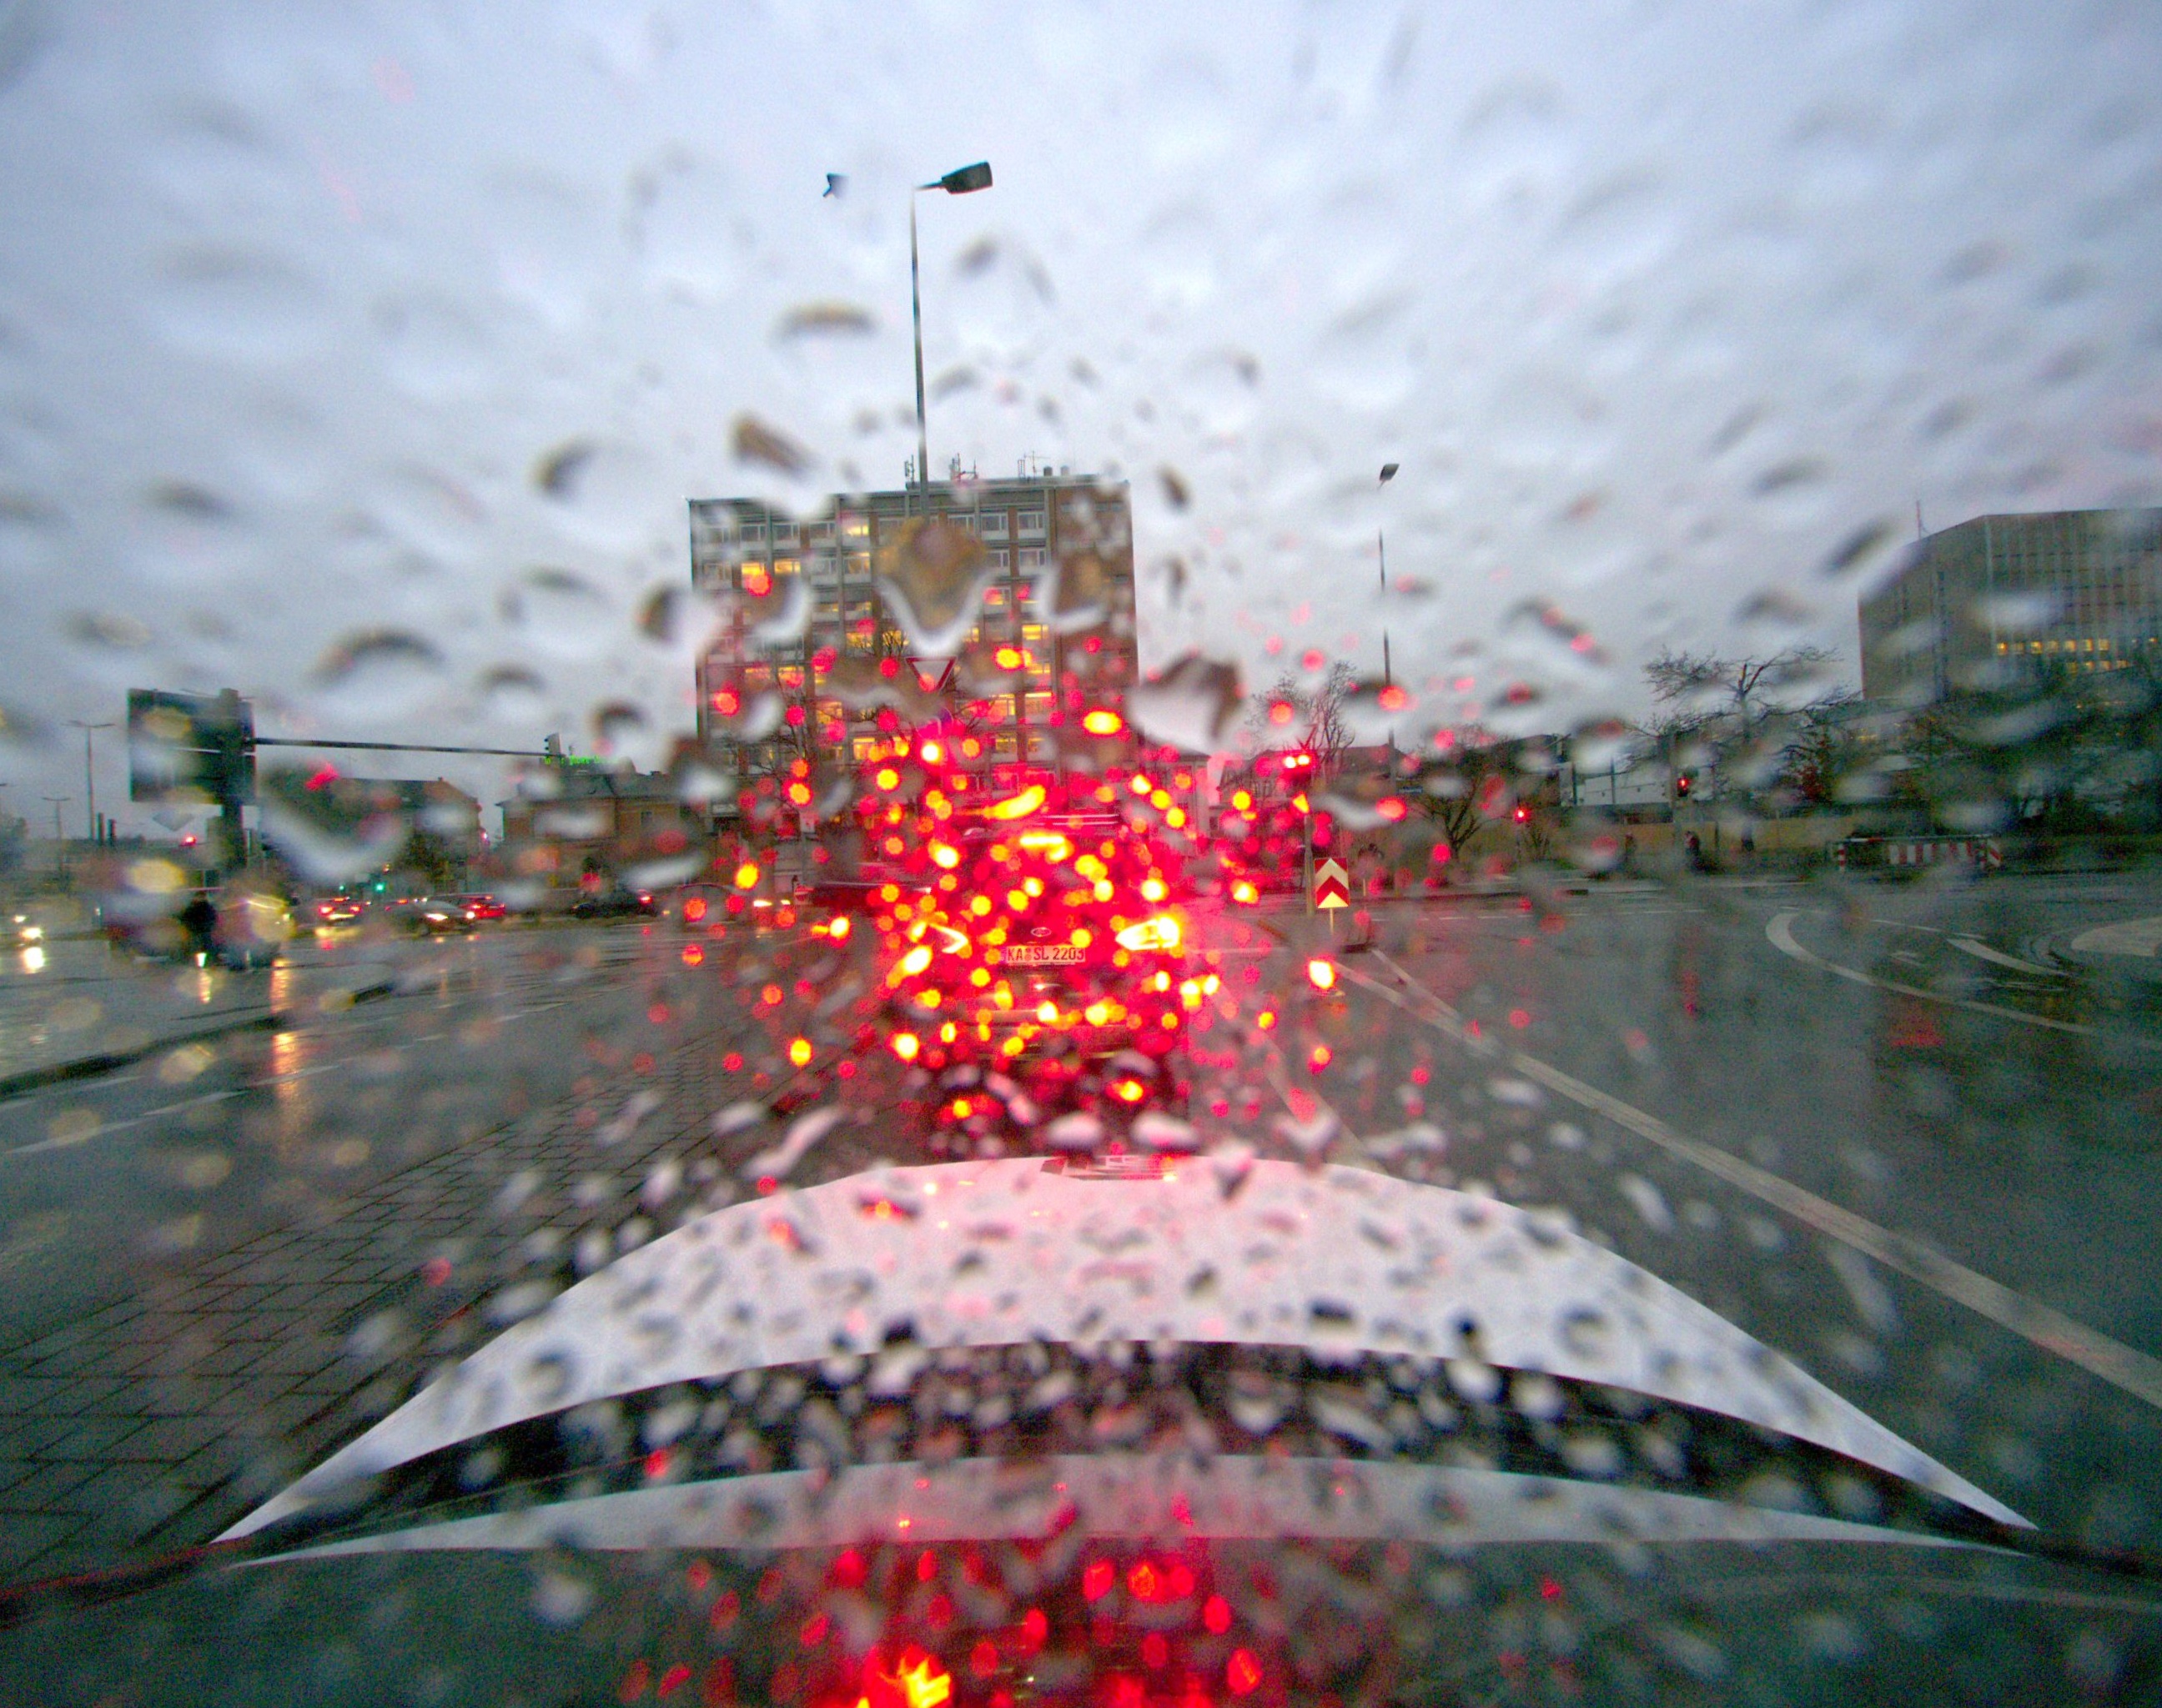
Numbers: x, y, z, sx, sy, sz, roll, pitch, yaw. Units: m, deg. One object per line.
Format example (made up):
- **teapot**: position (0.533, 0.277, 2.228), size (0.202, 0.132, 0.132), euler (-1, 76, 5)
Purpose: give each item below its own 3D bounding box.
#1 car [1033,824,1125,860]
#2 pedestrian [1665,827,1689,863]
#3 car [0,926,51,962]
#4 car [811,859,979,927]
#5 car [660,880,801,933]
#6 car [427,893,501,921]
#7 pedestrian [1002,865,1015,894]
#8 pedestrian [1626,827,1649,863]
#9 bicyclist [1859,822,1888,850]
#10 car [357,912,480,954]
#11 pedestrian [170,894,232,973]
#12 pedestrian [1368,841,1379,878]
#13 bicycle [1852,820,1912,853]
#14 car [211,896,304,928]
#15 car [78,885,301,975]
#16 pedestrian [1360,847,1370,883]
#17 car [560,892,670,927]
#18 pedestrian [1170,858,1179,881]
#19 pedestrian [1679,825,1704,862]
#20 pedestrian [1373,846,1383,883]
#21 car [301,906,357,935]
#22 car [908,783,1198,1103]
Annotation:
- **car**: position (-0.096, -0.726, 51.022), size (5.516, 2.024, 2.004), euler (-1, -2, 7)
- **pedestrian**: position (29.222, -0.443, 39.965), size (0.620, 1.725, 0.762), euler (-1, -2, 8)
- **car**: position (-48.518, 4.015, 36.459), size (3.611, 1.449, 1.610), euler (-1, -2, 14)
- **car**: position (-4.971, 1.050, 21.939), size (4.037, 1.684, 1.766), euler (-1, -2, 13)
- **car**: position (-11.588, 1.728, 26.995), size (4.040, 1.684, 1.766), euler (-1, -2, 14)
- **car**: position (-32.332, 2.765, 42.694), size (3.754, 1.398, 1.574), euler (-2, -2, 27)
- **pedestrian**: position (-4.164, 1.449, 46.835), size (0.642, 1.666, 0.564), euler (-1, -2, 9)
- **pedestrian**: position (27.216, -0.452, 39.838), size (0.620, 1.725, 0.762), euler (-1, -2, 8)
- **bicyclist**: position (36.138, -0.801, 37.148), size (0.694, 1.246, 0.609), euler (-1, -2, 10)
- **car**: position (-25.030, 2.957, 30.795), size (3.800, 1.449, 1.610), euler (-1, -2, 14)
- **pedestrian**: position (-19.545, 1.738, 18.098), size (0.456, 1.697, 0.801), euler (-2, -2, 25)
- **pedestrian**: position (14.591, 0.290, 40.619), size (0.454, 1.839, 0.441), euler (-2, -2, 19)
- **bicycle**: position (36.470, -0.780, 37.102), size (1.911, 1.423, 0.594), euler (-1, -2, 10)
- **car**: position (-53.152, 3.762, 52.583), size (5.114, 1.913, 2.008), euler (-2, -1, 17)
- **car**: position (-24.822, 2.062, 22.729), size (4.981, 2.282, 2.268), euler (-2, -2, 18)
- **pedestrian**: position (14.529, 0.572, 41.699), size (0.434, 1.839, 0.462), euler (-2, -2, 19)
- **car**: position (-22.387, 2.678, 39.171), size (4.400, 1.580, 1.975), euler (-1, -2, 15)
- **pedestrian**: position (5.099, 0.841, 44.323), size (0.429, 1.270, 0.443), euler (-1, -2, 13)
- **pedestrian**: position (29.178, -0.476, 38.907), size (0.620, 1.725, 0.762), euler (-1, -2, 8)
- **pedestrian**: position (15.073, 0.542, 41.345), size (0.434, 1.839, 0.462), euler (-2, -2, 20)
- **car**: position (-44.814, 3.929, 48.524), size (3.368, 1.605, 1.576), euler (-2, -2, 31)
- **car**: position (-0.100, 0.508, 6.698), size (1.641, 1.819, 4.002), euler (-1, 0, 2)
